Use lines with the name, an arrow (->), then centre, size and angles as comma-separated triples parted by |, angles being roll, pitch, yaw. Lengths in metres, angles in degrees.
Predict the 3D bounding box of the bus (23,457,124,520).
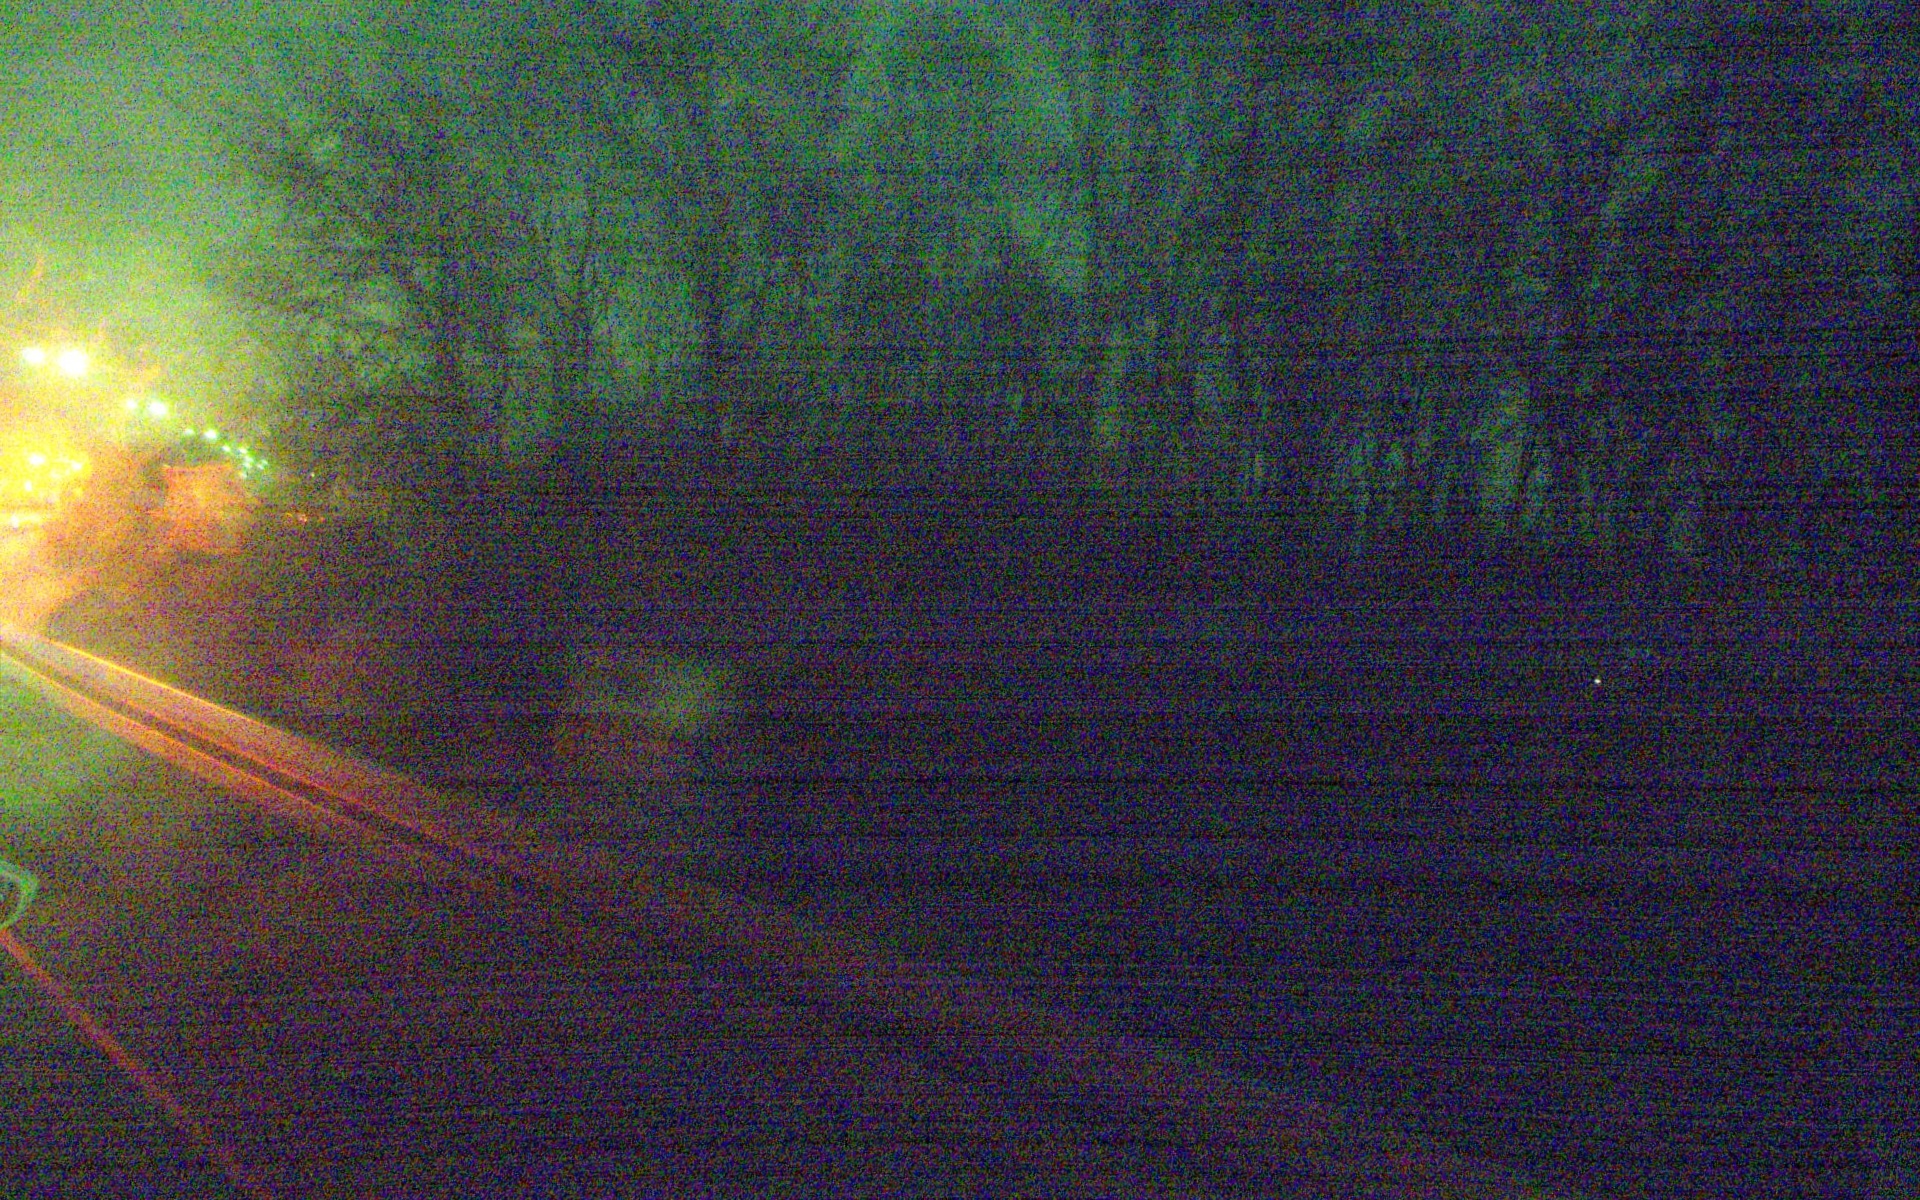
bus -> -55.759, -6.909, 63.546 | 2.724, 3.161, 9.128 | 8, 0, -30
